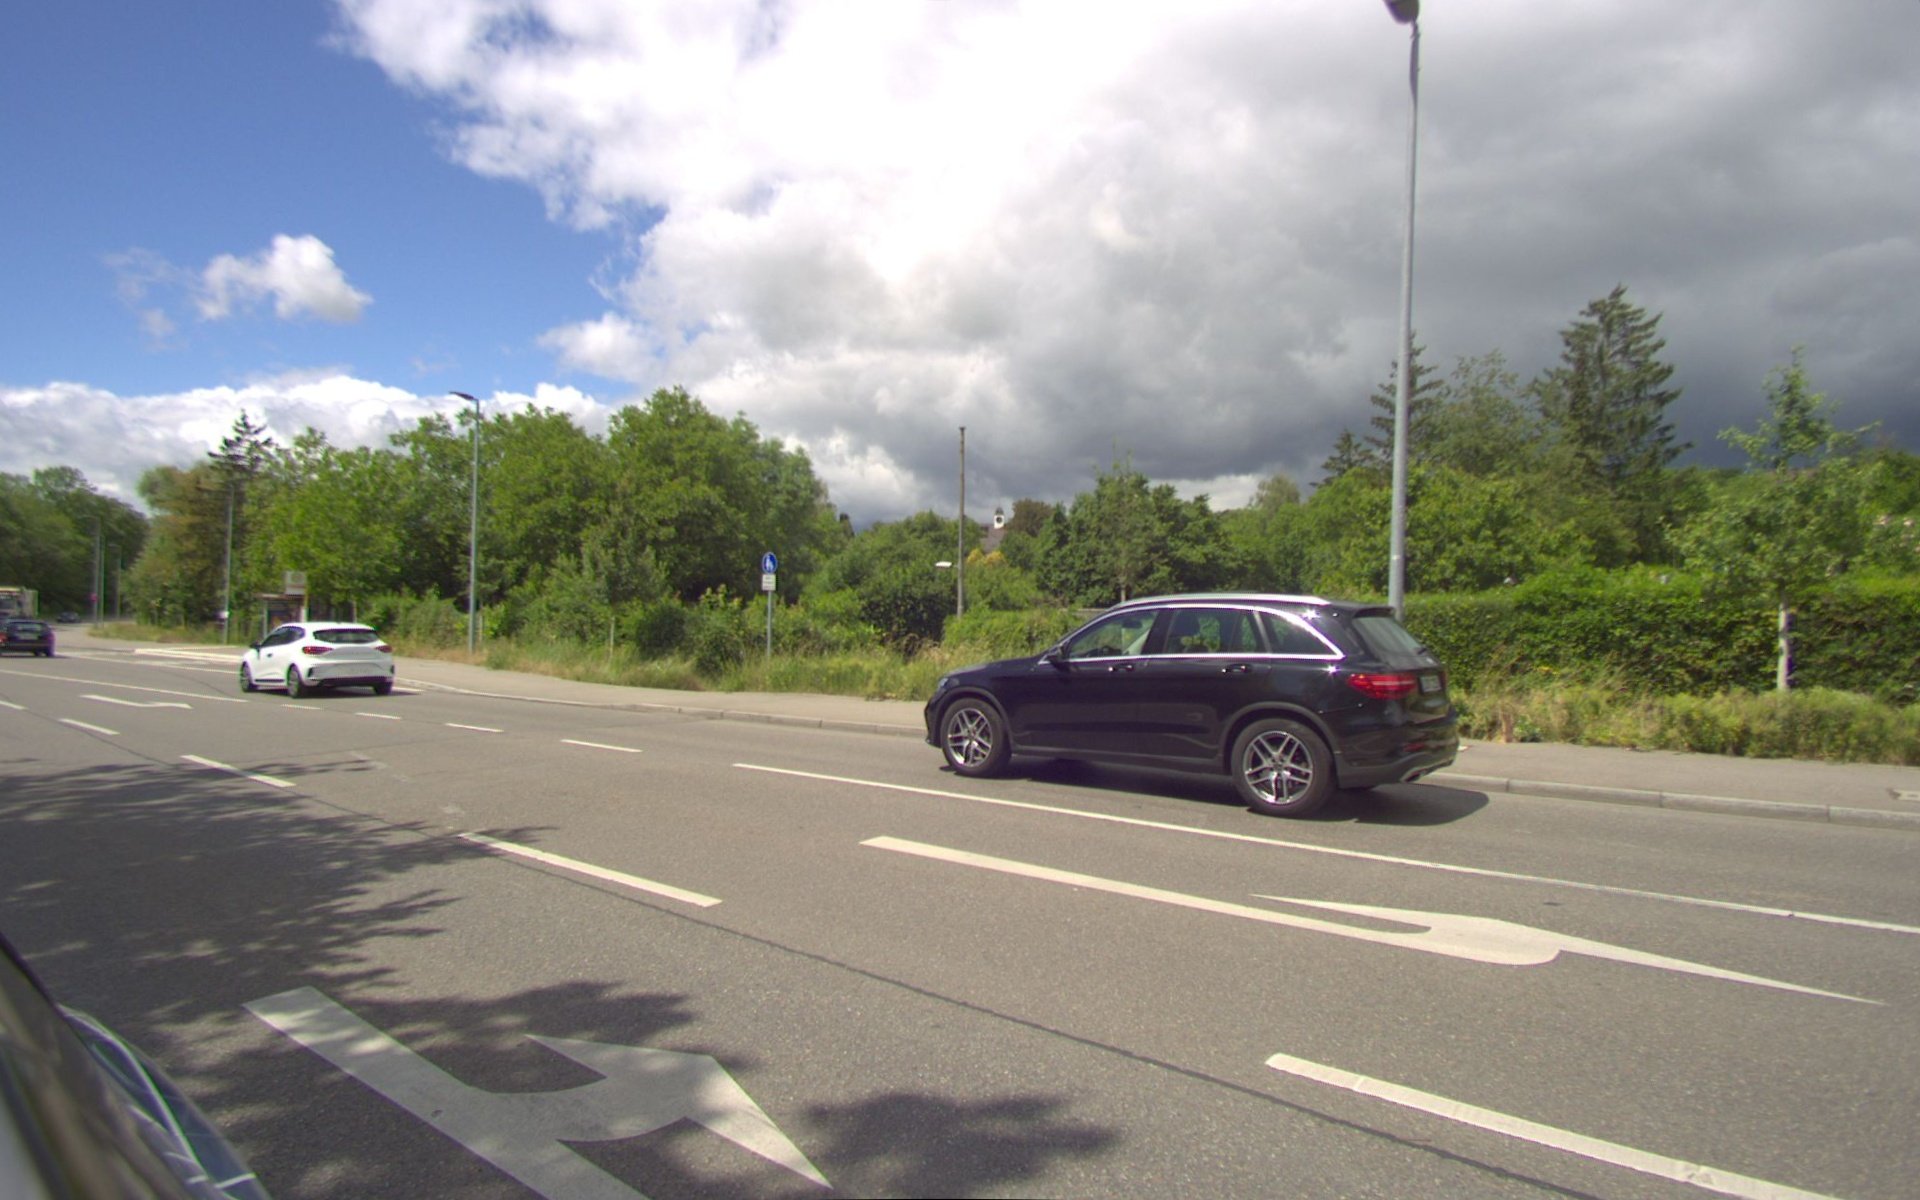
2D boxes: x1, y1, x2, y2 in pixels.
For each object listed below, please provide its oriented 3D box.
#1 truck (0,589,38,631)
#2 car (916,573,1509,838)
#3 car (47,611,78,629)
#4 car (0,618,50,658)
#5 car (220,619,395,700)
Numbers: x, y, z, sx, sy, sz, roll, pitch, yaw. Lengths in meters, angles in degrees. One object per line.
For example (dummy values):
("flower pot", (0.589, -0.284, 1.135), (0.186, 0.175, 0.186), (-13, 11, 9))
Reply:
("truck", (-91.960, 0.870, 97.112), (3.188, 3.890, 9.902), (3, -2, -32))
("car", (1.912, 0.714, 8.536), (4.528, 1.667, 1.803), (-1, -2, 40))
("car", (-107.371, 2.369, 121.059), (1.966, 2.029, 4.012), (3, -2, -31))
("car", (-36.438, 1.418, 38.657), (4.371, 1.453, 1.749), (0, -2, 38))
("car", (-13.096, 1.130, 20.253), (3.894, 1.453, 1.749), (0, -2, 38))
